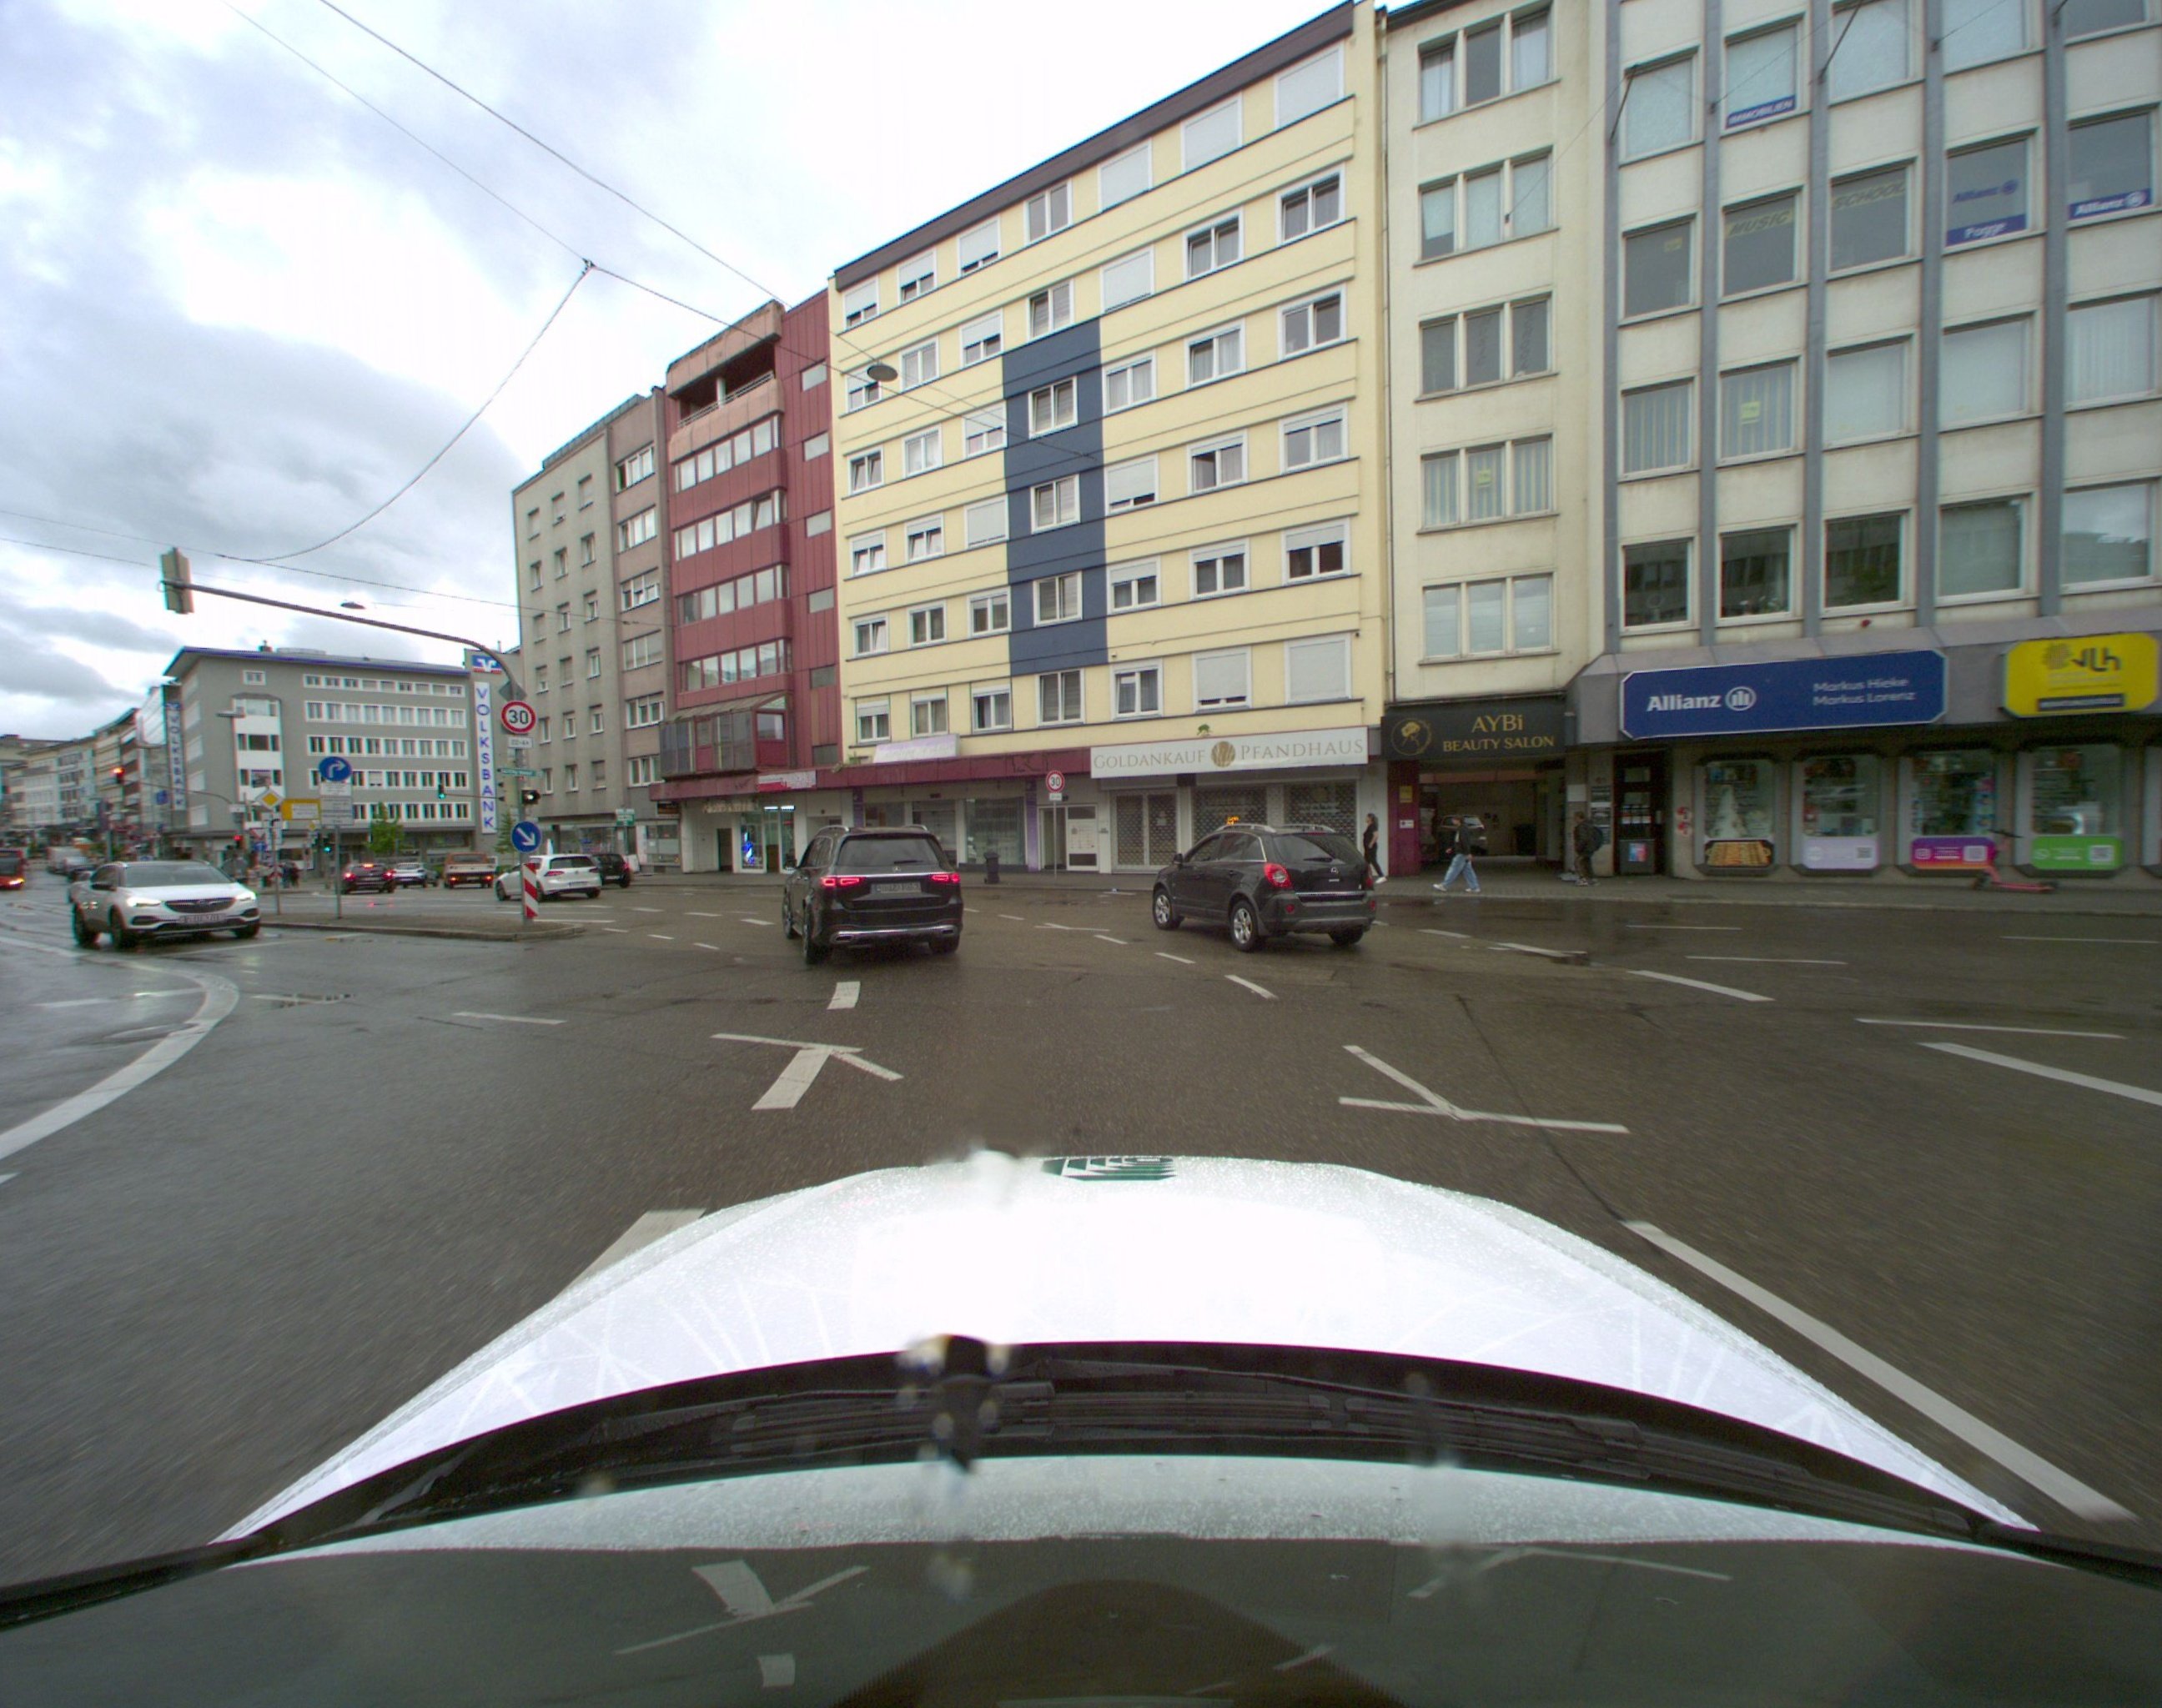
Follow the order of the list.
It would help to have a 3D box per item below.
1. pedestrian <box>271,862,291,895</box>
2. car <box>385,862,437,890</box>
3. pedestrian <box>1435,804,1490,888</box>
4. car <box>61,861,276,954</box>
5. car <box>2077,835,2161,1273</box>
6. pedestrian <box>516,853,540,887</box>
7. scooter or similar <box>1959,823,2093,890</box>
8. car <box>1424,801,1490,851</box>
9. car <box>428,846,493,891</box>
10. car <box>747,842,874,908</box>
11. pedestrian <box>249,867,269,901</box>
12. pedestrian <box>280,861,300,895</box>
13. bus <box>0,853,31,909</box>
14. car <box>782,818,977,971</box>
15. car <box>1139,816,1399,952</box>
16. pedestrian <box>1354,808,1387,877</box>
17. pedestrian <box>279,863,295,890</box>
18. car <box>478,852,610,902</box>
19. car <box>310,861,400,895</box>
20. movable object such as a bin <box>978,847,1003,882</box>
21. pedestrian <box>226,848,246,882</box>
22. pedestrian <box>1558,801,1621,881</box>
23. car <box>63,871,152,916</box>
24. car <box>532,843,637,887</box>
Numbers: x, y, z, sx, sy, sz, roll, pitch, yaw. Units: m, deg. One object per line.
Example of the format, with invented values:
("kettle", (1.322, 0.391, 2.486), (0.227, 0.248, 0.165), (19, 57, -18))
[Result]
("pedestrian", (-49.551, 1.490, 50.445), (0.844, 2.013, 0.819), (-2, 0, 45))
("car", (-38.936, 1.251, 47.436), (1.939, 1.515, 4.612), (2, -1, -35))
("pedestrian", (8.643, -0.194, 18.504), (1.022, 1.798, 0.834), (-1, 6, 18))
("car", (-18.694, 1.027, 16.648), (4.675, 1.556, 2.013), (-2, 2, 31))
("car", (4.420, 0.666, 0.954), (1.682, 1.477, 4.002), (-1, 0, 2))
("pedestrian", (-33.725, 0.958, 49.701), (0.807, 2.013, 0.856), (-2, 0, 6))
("scooter or similar", (18.262, 0.023, 15.784), (1.499, 1.210, 0.625), (2, 6, 25))
("car", (14.123, -1.008, 30.797), (1.782, 1.670, 4.019), (-2, 0, 18))
("car", (-33.381, 0.729, 43.740), (2.262, 2.228, 5.362), (0, 0, -43))
("car", (-6.705, 0.504, 19.912), (1.781, 1.397, 3.955), (-2, 0, -37))
("pedestrian", (-49.399, 1.803, 48.927), (0.844, 2.013, 0.819), (-2, 0, 45))
("pedestrian", (-47.795, 1.468, 49.217), (0.844, 2.013, 0.819), (-2, 0, 45))
("bus", (-81.645, 2.127, 60.889), (9.361, 3.953, 2.939), (-3, 0, 33))
("car", (-3.213, 0.406, 12.207), (2.048, 1.798, 4.626), (-2, 2, -24))
("car", (2.613, 0.325, 12.582), (1.902, 1.695, 4.479), (-1, 1, -18))
("pedestrian", (7.372, -0.296, 20.728), (0.747, 1.688, 0.569), (-1, 6, 18))
("pedestrian", (-59.301, 1.692, 60.846), (0.844, 2.013, 0.819), (-2, 0, 45))
("car", (-17.362, 0.686, 26.294), (4.344, 1.495, 1.891), (0, 0, 31))
("car", (-34.384, 1.146, 38.560), (4.182, 1.486, 2.013), (-2, 0, 31))
("movable object such as a bin", (-2.744, 0.310, 24.677), (0.538, 0.950, 0.616), (-8, 7, -20))
("pedestrian", (-51.731, 0.681, 49.852), (0.844, 2.013, 0.819), (-2, 0, 45))
("pedestrian", (11.454, -0.297, 18.379), (1.022, 1.688, 0.834), (-1, 6, 18))
("car", (-44.750, 1.757, 37.426), (4.675, 1.789, 2.013), (1, 1, 32))
("car", (-19.959, 0.432, 32.715), (4.437, 1.658, 1.840), (0, -1, 33))
